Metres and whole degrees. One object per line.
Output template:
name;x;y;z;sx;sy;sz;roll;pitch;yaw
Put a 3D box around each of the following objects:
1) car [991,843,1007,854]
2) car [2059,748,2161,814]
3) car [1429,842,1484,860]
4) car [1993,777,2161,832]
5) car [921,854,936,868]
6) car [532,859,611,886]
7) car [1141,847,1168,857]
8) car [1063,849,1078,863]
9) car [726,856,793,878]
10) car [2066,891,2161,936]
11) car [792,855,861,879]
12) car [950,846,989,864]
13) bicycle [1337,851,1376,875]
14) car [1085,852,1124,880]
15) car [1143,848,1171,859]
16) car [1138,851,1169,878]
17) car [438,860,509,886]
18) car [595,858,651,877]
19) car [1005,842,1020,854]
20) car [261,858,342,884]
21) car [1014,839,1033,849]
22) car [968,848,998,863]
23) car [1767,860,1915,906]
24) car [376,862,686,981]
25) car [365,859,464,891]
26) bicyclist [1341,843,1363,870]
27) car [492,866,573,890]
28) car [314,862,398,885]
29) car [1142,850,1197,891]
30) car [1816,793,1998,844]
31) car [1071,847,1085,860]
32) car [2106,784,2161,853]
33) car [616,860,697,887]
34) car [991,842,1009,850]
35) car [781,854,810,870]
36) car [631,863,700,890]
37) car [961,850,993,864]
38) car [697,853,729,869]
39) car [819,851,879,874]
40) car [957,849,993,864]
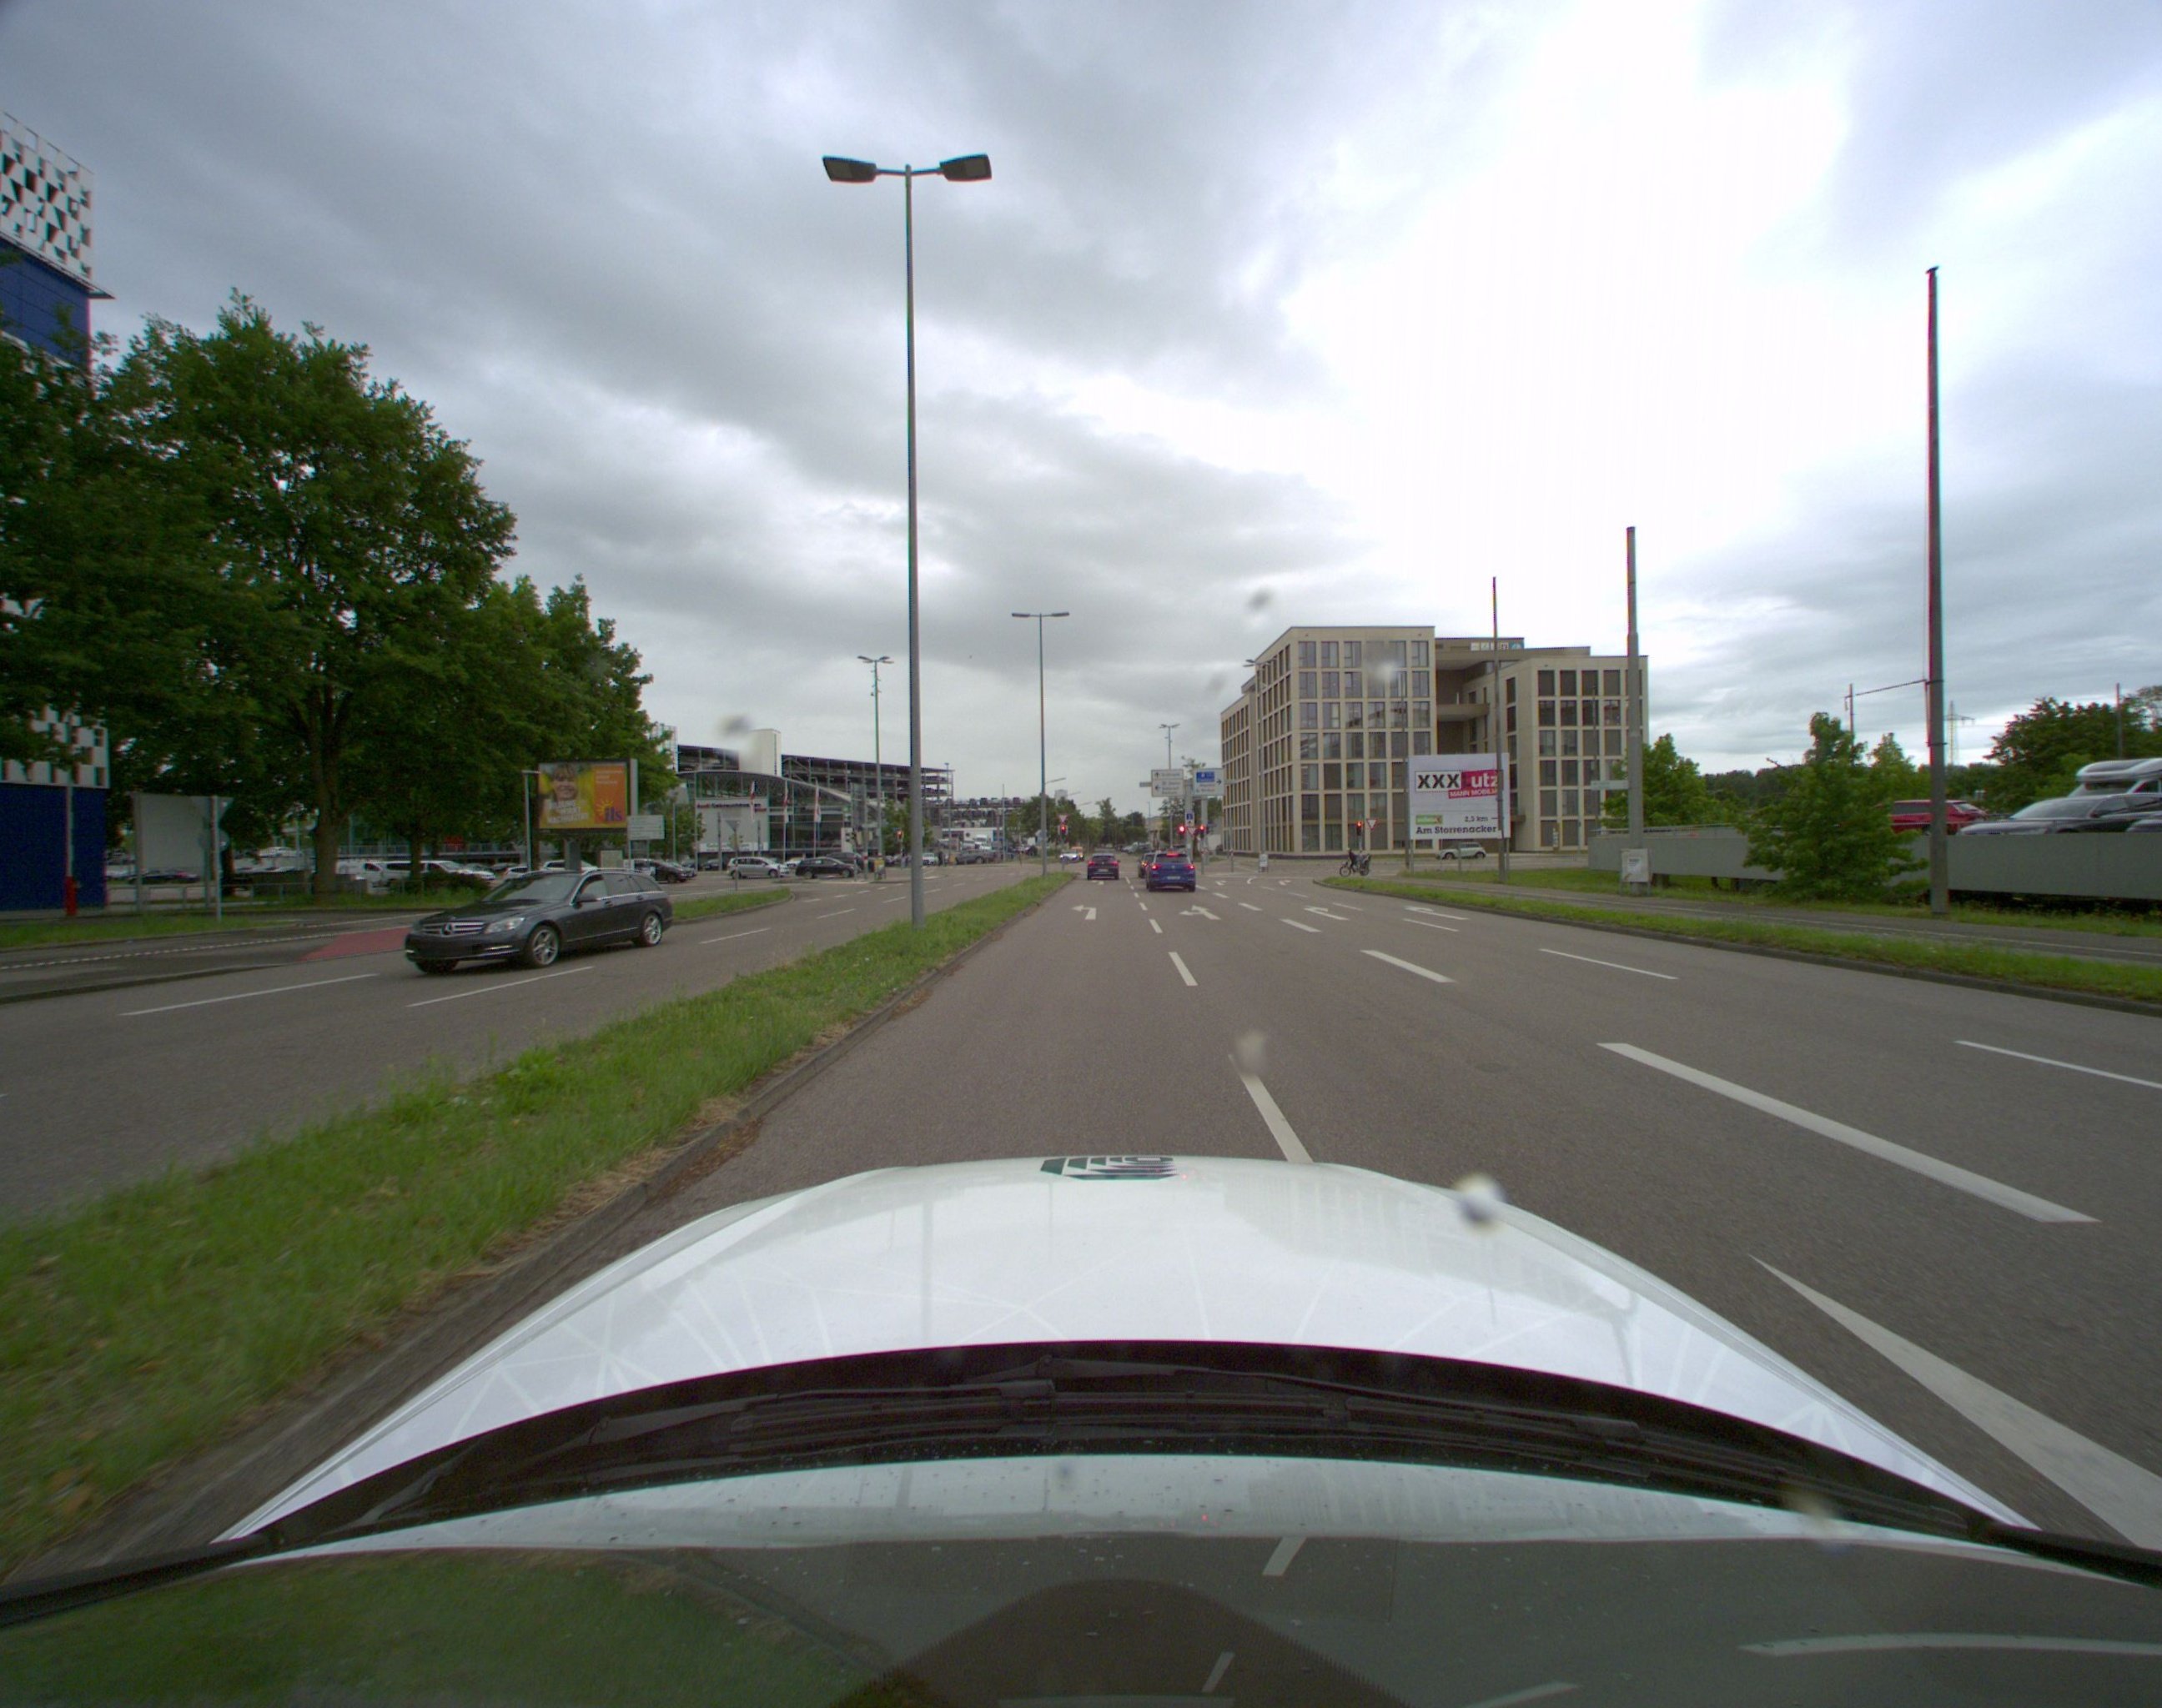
car;-13.376;-0.961;133.040;1.767;1.705;3.924;-1;2;6
car;38.676;-2.588;28.941;4.989;2.210;2.168;-1;2;4
car;33.599;-0.259;72.869;4.177;1.490;1.695;-1;2;1
car;23.770;-1.124;18.749;3.681;1.176;1.720;-1;2;0
car;-15.776;0.726;84.147;1.372;1.326;3.021;-1;2;-13
car;-37.925;1.375;60.729;4.425;1.711;1.998;-1;4;-5
car;10.812;-0.315;119.983;3.572;1.478;1.769;0;2;21
car;-1.154;0.243;92.793;1.595;1.453;3.326;-1;2;1
car;-24.154;0.973;61.397;4.242;1.509;1.996;-1;2;-6
car;34.227;1.884;25.901;3.597;1.285;1.463;0;2;11
car;-18.223;0.917;58.479;4.410;1.660;1.996;-1;0;-6
car;-12.175;0.082;89.055;3.979;1.790;1.845;-1;2;-4
bicycle;15.623;0.510;46.275;0.706;1.295;1.987;-1;1;-43
car;1.246;0.621;44.931;1.982;1.428;4.240;-1;0;-1
car;10.611;-0.076;114.173;3.573;1.478;1.769;0;2;19
car;4.126;0.578;46.751;1.519;1.432;3.391;0;1;1
car;-44.931;1.391;60.325;3.750;1.746;1.880;-1;2;-2
car;-40.537;1.192;72.143;3.938;1.567;1.756;-1;2;-7
car;-11.193;-0.995;133.061;1.767;1.705;3.924;-1;2;6
car;-54.081;1.167;56.548;3.843;1.651;1.732;-1;2;0
car;-10.067;-1.834;143.177;3.287;1.640;1.479;-1;2;-2
car;-11.989;0.160;99.747;3.598;1.667;1.547;-1;2;-4
car;36.240;1.336;39.090;2.446;2.013;5.109;0;0;1
car;-8.639;0.955;13.424;1.784;1.479;4.535;-3;0;3
car;-46.527;1.464;56.915;5.120;1.963;1.879;-1;3;-3
bicyclist;15.460;0.157;46.437;0.706;1.504;0.988;-1;1;-43
car;-38.719;1.674;57.561;4.218;1.512;1.992;-1;1;-3
car;-53.243;1.423;59.873;4.218;1.504;1.992;-1;1;-3
car;3.458;0.616;32.421;1.828;1.514;4.000;-1;0;1
car;29.549;-1.267;29.302;1.843;1.679;4.230;-2;2;-24
car;-0.375;-0.071;100.929;1.595;1.453;3.326;-1;2;1
car;23.226;-0.732;16.047;3.911;1.351;1.720;-1;2;0
car;-30.055;1.368;57.772;4.537;1.659;1.996;-2;1;-6
car;-16.377;-1.694;164.261;3.658;1.528;1.611;-1;2;-6
car;-29.205;0.808;83.364;1.713;1.400;3.537;-1;2;1
car;-31.090;1.691;61.065;3.979;1.661;1.997;-4;2;-4
car;-12.239;0.362;95.941;3.598;1.476;1.547;-1;2;-4
car;-37.412;0.707;82.877;1.592;1.485;3.537;-1;2;1
car;-18.507;0.698;65.167;4.401;1.643;1.994;-1;2;-9
car;-11.887;0.242;91.224;3.815;1.589;1.680;-1;2;-4
